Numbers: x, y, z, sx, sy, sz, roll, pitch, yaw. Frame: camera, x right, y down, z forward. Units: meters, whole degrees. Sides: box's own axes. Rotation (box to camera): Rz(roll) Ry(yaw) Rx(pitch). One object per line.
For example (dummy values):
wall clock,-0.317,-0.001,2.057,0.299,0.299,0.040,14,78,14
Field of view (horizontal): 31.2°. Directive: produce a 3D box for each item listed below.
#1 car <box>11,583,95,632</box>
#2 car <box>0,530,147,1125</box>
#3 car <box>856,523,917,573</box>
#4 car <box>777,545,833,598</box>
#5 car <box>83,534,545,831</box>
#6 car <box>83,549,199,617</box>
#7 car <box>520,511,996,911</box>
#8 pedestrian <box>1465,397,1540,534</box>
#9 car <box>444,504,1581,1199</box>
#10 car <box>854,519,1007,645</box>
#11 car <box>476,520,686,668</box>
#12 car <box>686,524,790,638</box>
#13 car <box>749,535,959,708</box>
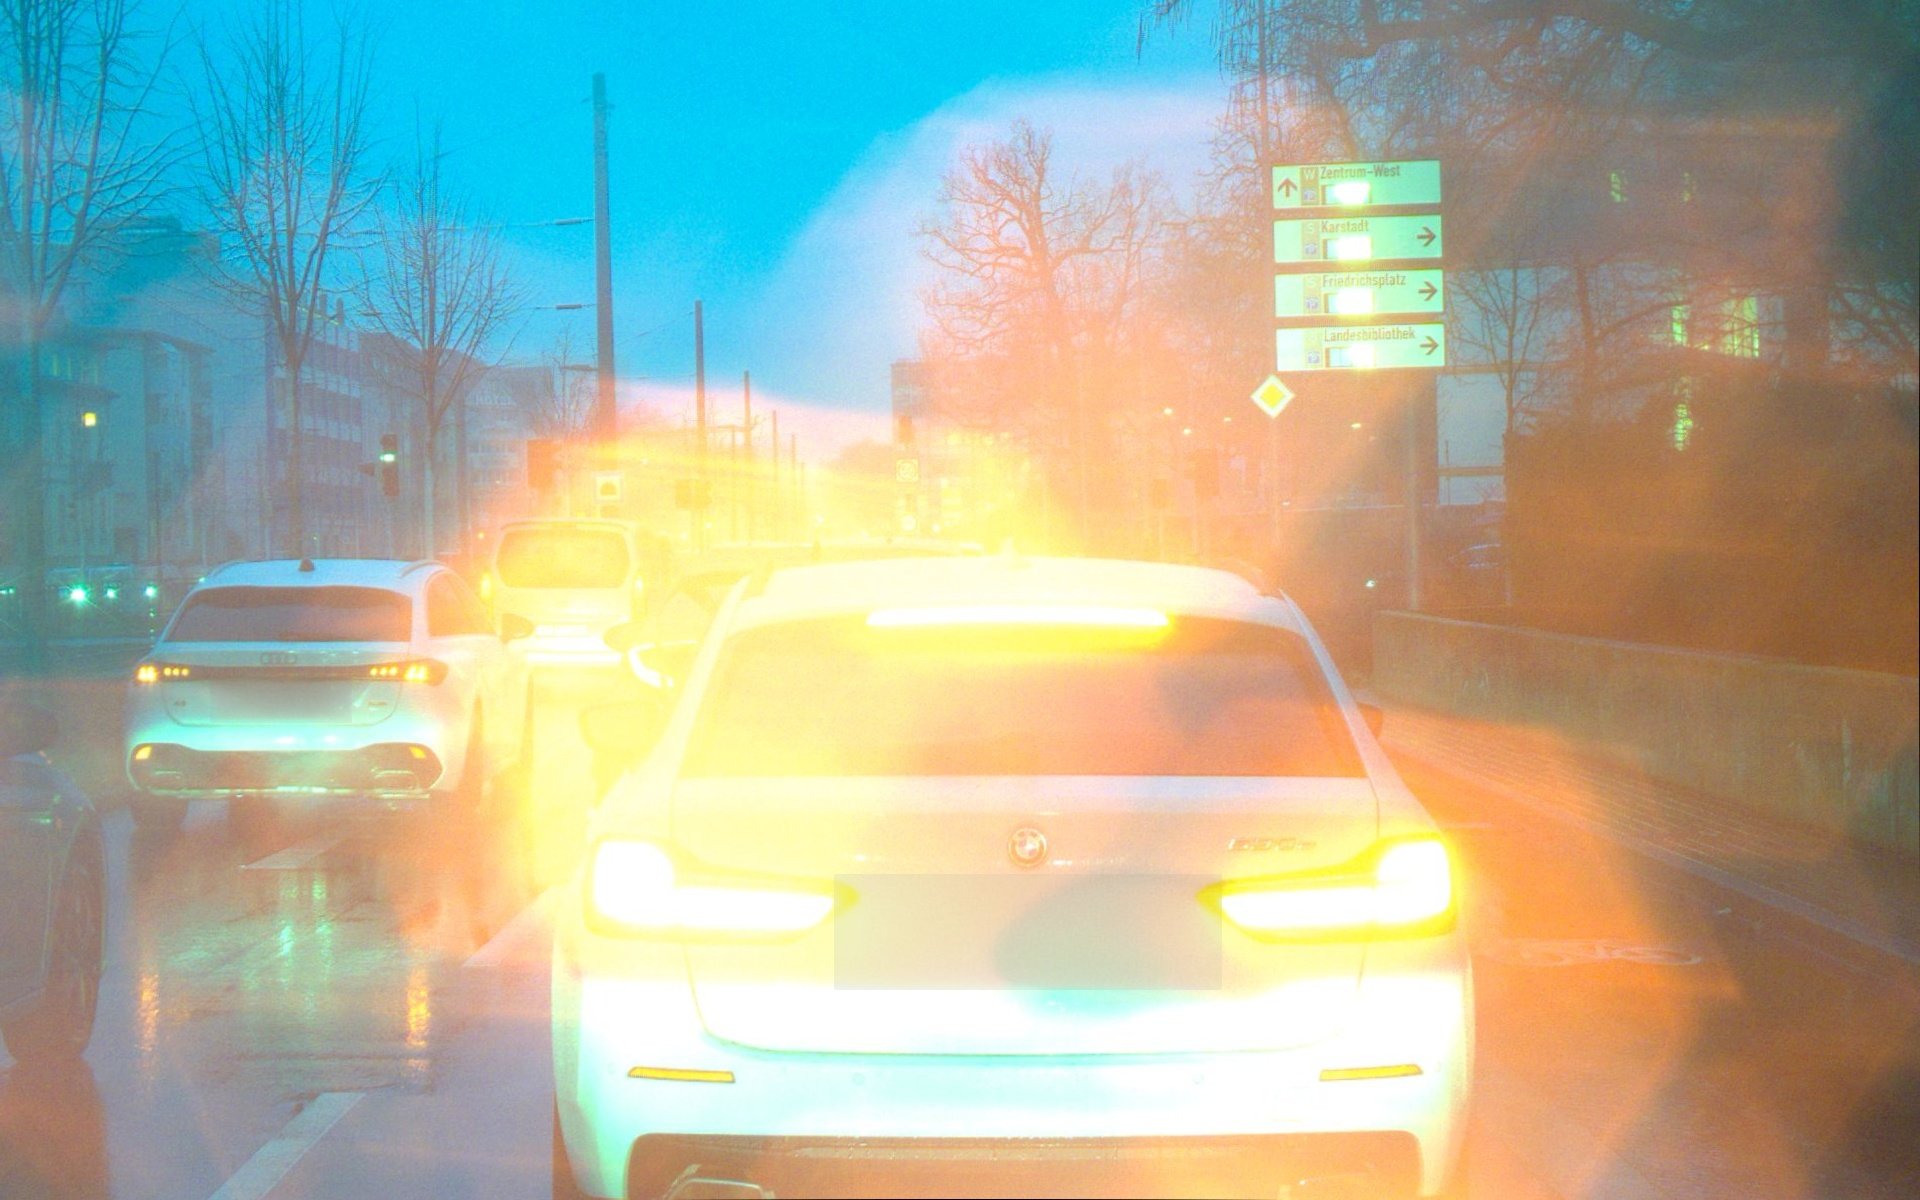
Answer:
car,-25.313,0.205,96.013,1.690,1.273,4.149,-1,1,-7
car,-3.303,0.586,8.585,1.693,1.528,4.000,0,1,-1
car,-2.156,-1.548,101.973,1.737,1.415,4.146,-1,1,-1
car,-3.932,-0.720,86.870,1.362,1.312,2.716,1,1,-3
car,-3.548,0.375,19.716,1.799,1.461,4.586,-1,1,-1
car,-20.113,-0.422,84.566,1.993,1.597,4.000,1,1,-2
car,-0.795,0.398,15.133,1.800,1.505,3.895,-1,1,-1
pedestrian,8.115,-2.007,51.449,0.959,2.007,1.008,-1,1,2
car,0.066,0.589,8.179,1.862,1.550,4.938,-1,1,-1
car,-0.366,-0.247,41.677,1.737,1.415,3.703,-1,1,-1
car,-3.902,-0.102,36.006,1.737,1.415,4.394,-1,1,-1
car,-3.347,-0.294,51.790,1.505,1.647,2.845,1,1,-4
car,-0.913,0.146,30.755,1.737,1.415,3.703,-1,1,-1
